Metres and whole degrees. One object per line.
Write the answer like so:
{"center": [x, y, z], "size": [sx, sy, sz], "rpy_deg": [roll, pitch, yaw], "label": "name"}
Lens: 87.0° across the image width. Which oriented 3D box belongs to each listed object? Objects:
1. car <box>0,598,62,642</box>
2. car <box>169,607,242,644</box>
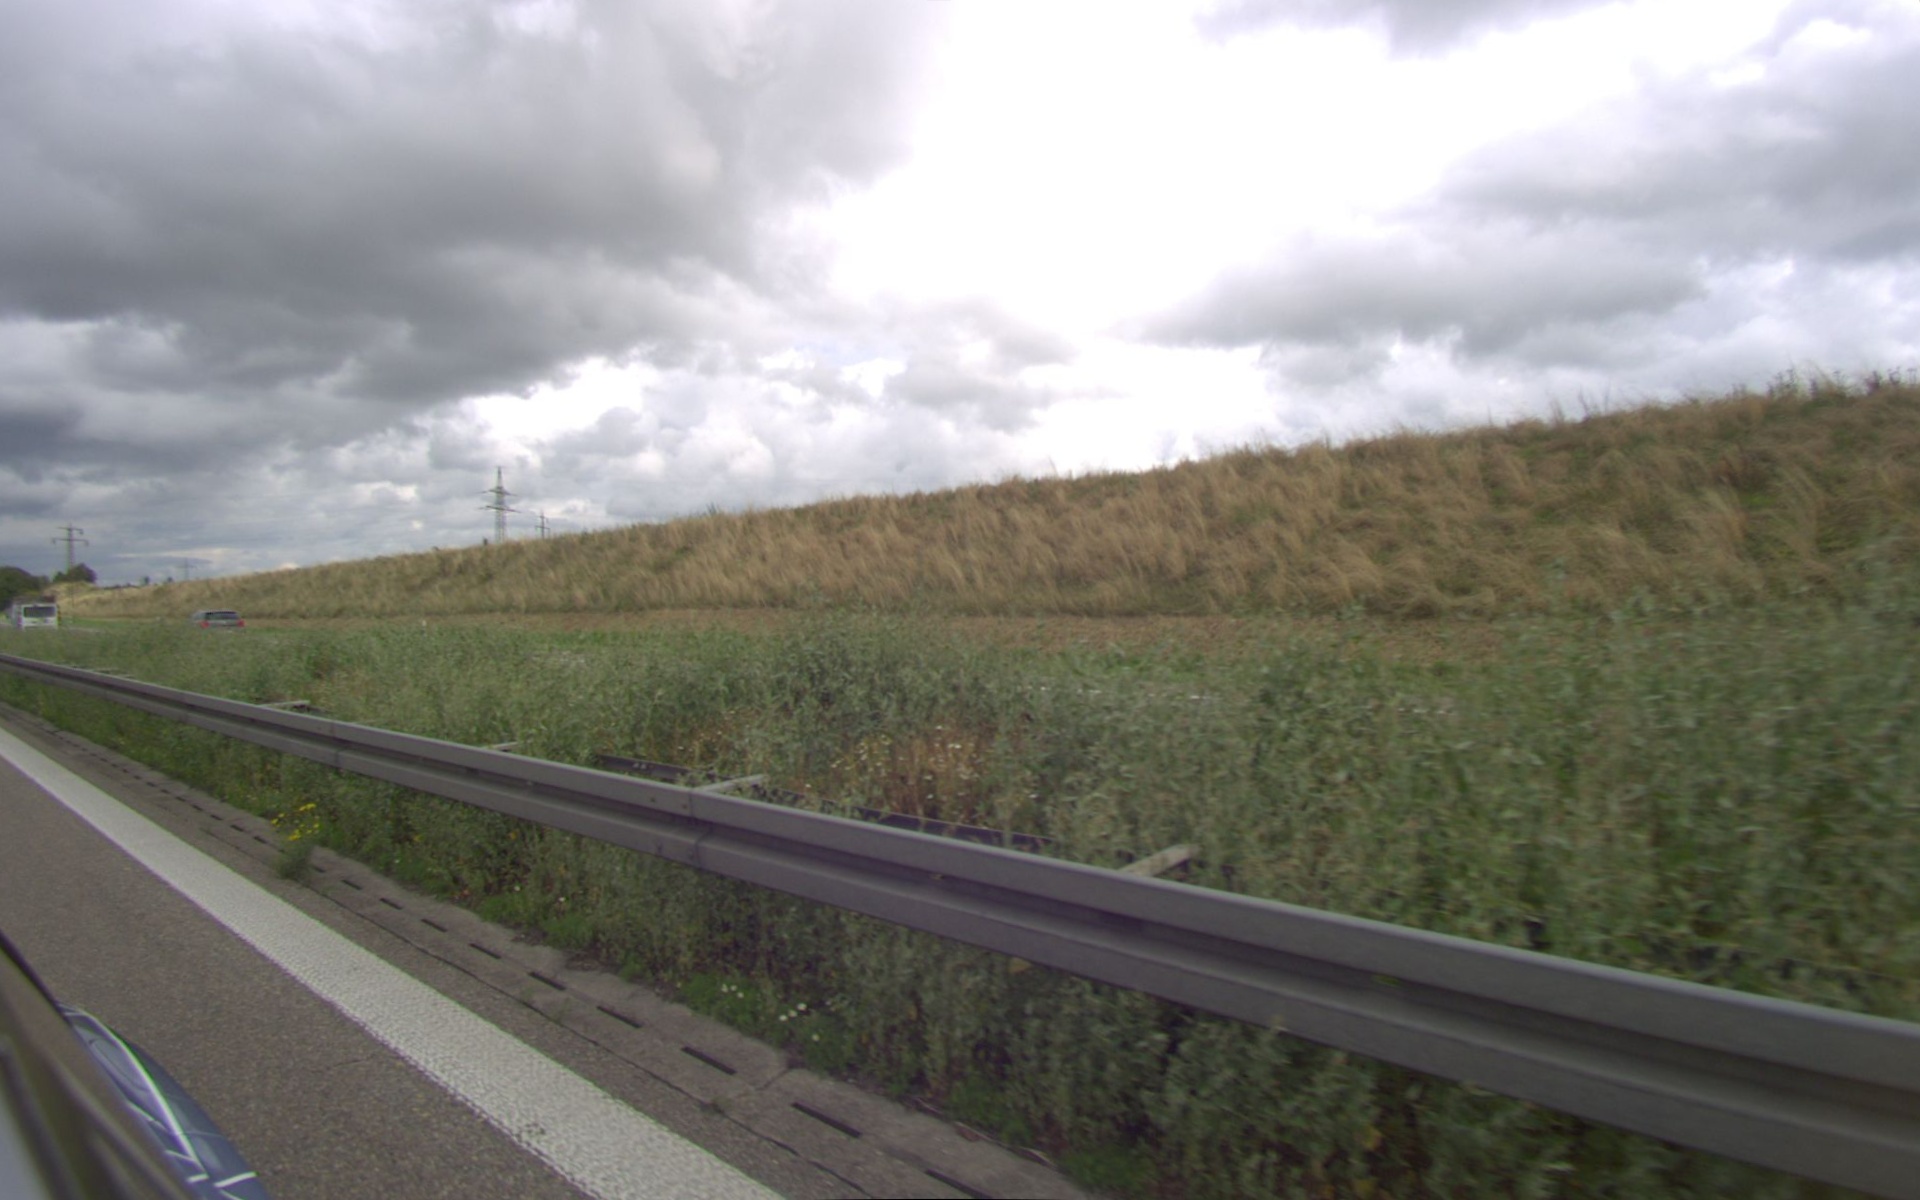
{"center": [-52.507, 1.095, 57.140], "size": [5.868, 2.366, 1.973], "rpy_deg": [0, 0, 41], "label": "car"}
{"center": [-31.930, 1.041, 42.795], "size": [3.999, 1.465, 1.753], "rpy_deg": [0, 0, 42], "label": "car"}
